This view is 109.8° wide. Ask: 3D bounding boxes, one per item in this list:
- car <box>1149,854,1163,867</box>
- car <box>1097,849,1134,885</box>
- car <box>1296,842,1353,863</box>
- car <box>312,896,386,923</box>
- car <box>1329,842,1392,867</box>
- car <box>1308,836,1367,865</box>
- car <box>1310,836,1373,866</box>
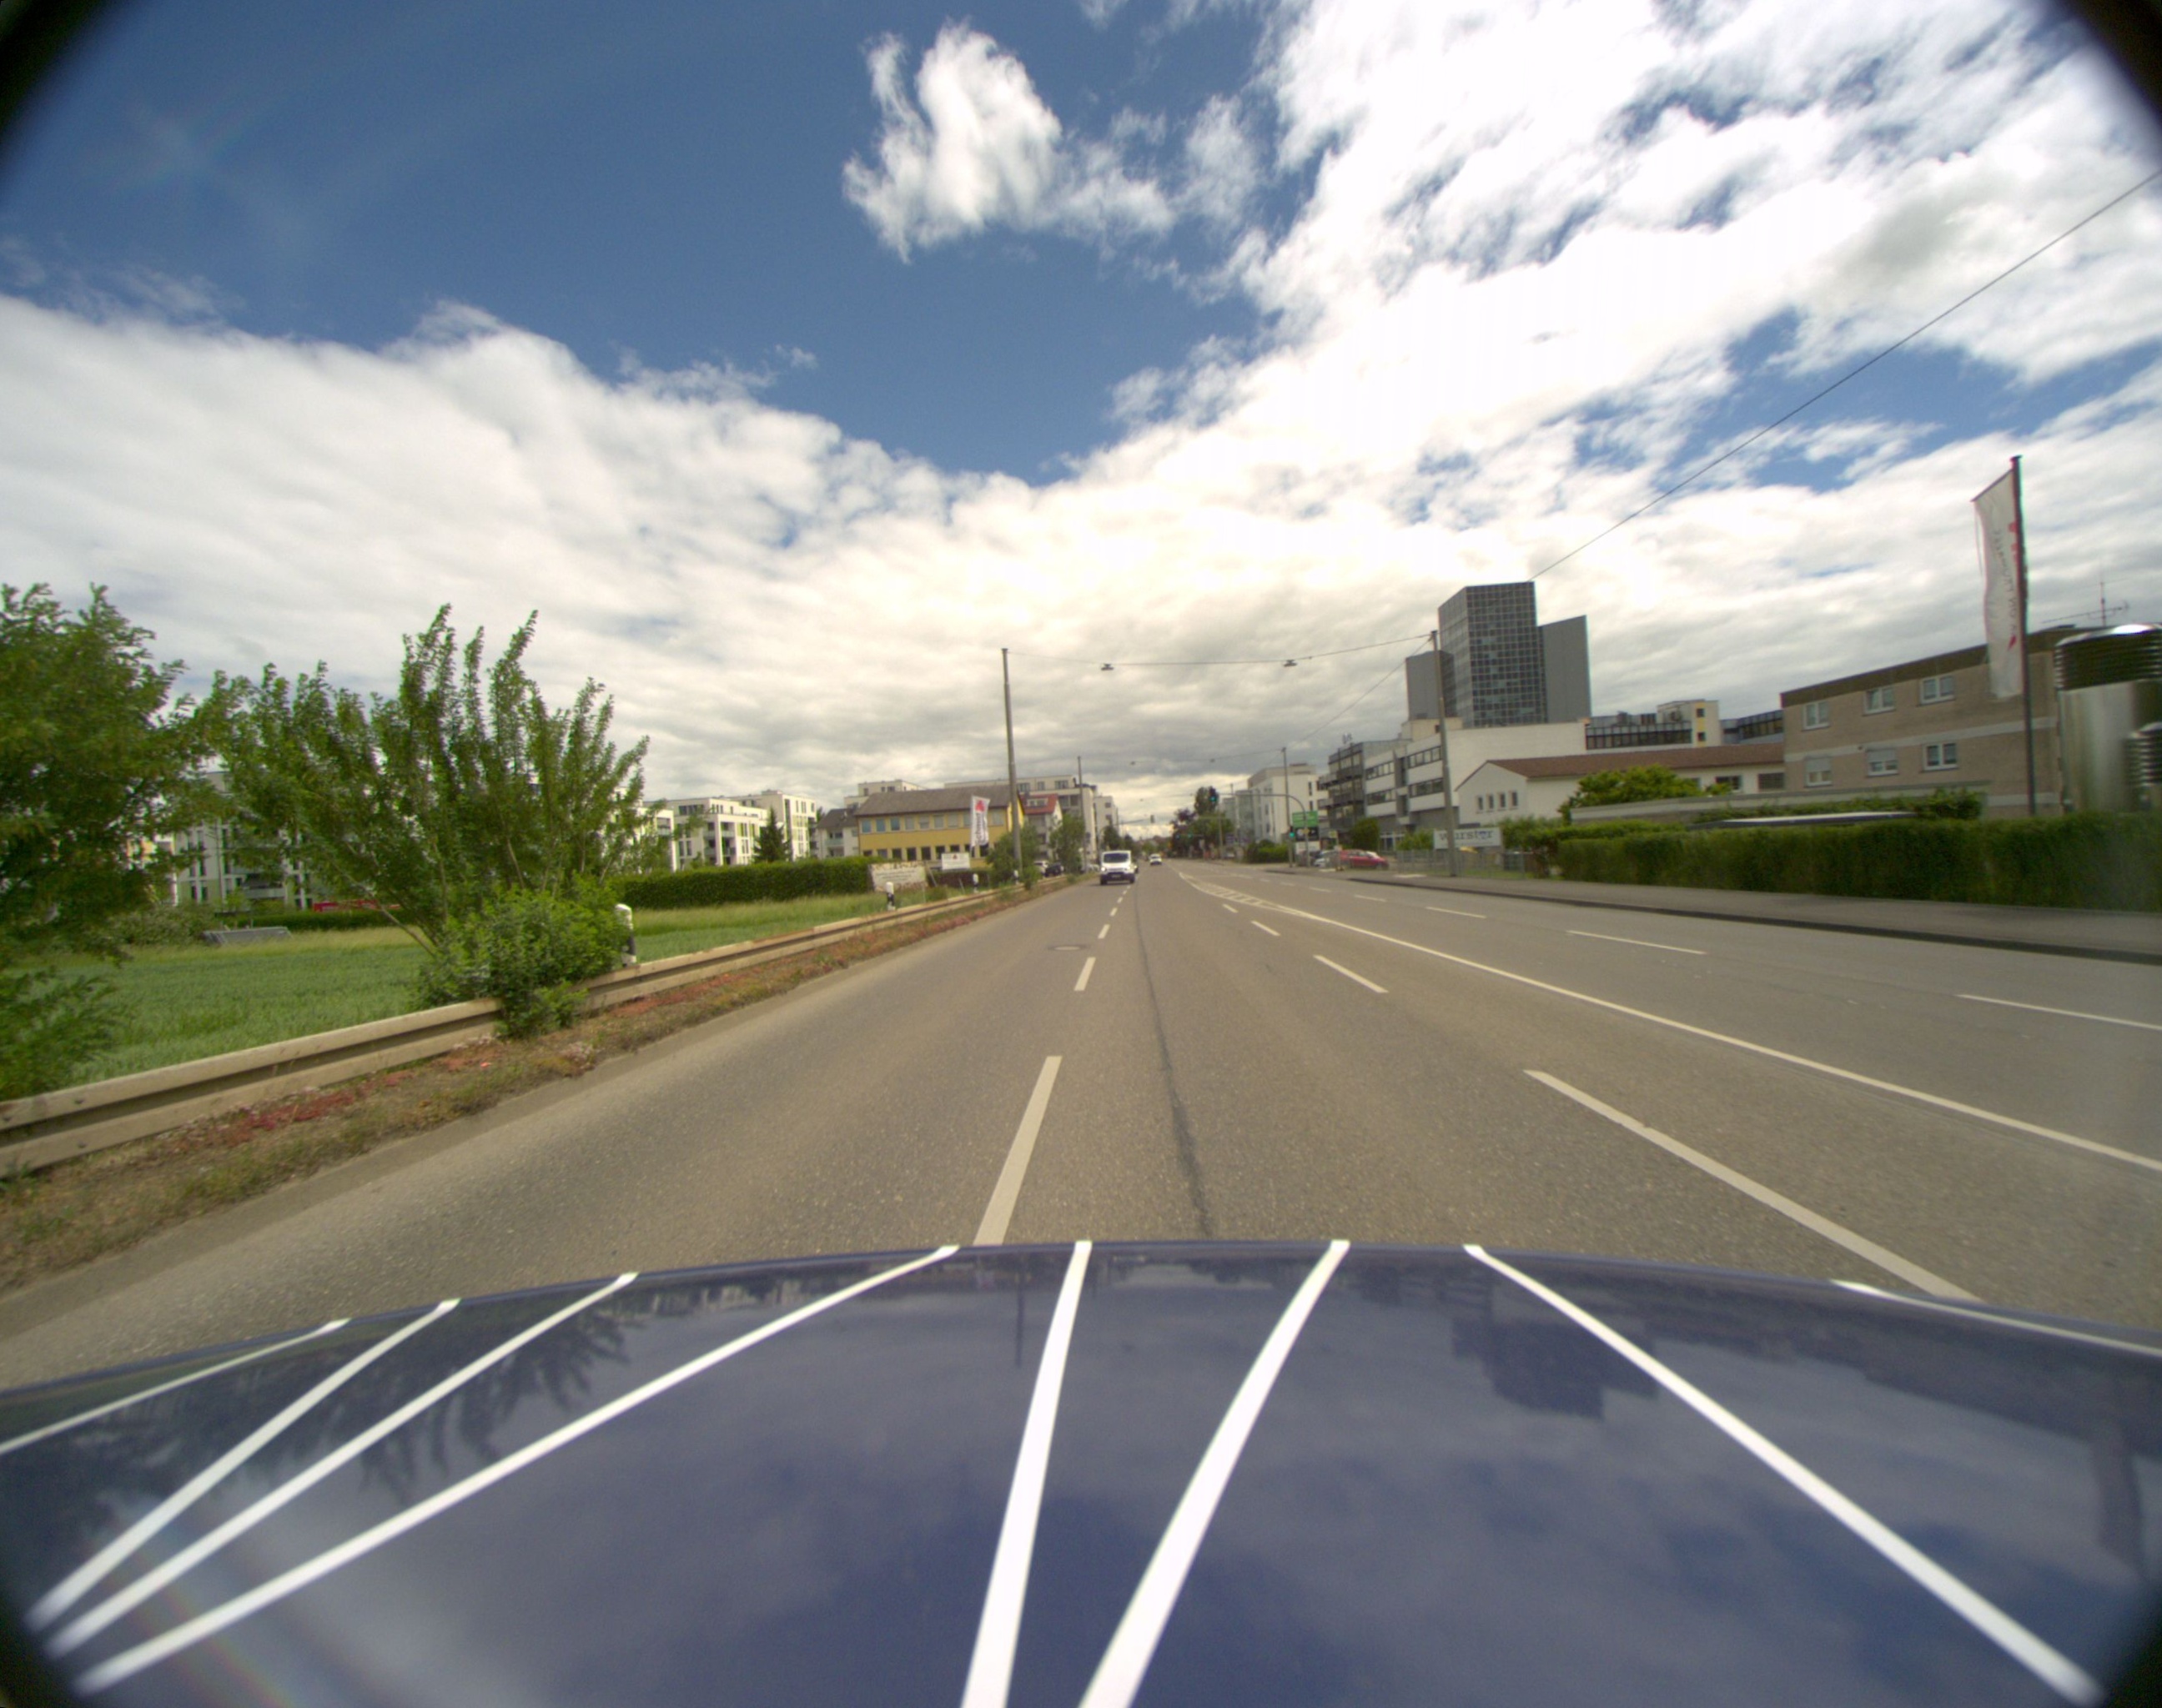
[{"bbox_3d":[11.995,1.030,120.986,1.800,2.002,4.000,-3,1,1],"label":"car"},{"bbox_3d":[2.086,0.727,46.257,1.998,1.907,5.882,-3,1,2],"label":"car"},{"bbox_3d":[19.902,-0.093,62.193,3.996,1.324,1.824,-5,-1,2],"label":"car"},{"bbox_3d":[-64.545,4.847,67.082,4.437,2.002,2.000,-3,1,0],"label":"car"},{"bbox_3d":[20.045,0.054,54.549,3.801,1.601,1.836,-3,0,0],"label":"car"},{"bbox_3d":[20.149,-0.270,59.853,3.996,2.002,1.904,-3,1,3],"label":"car"},{"bbox_3d":[19.654,-0.207,57.437,3.996,2.002,1.920,-3,1,2],"label":"car"}]
